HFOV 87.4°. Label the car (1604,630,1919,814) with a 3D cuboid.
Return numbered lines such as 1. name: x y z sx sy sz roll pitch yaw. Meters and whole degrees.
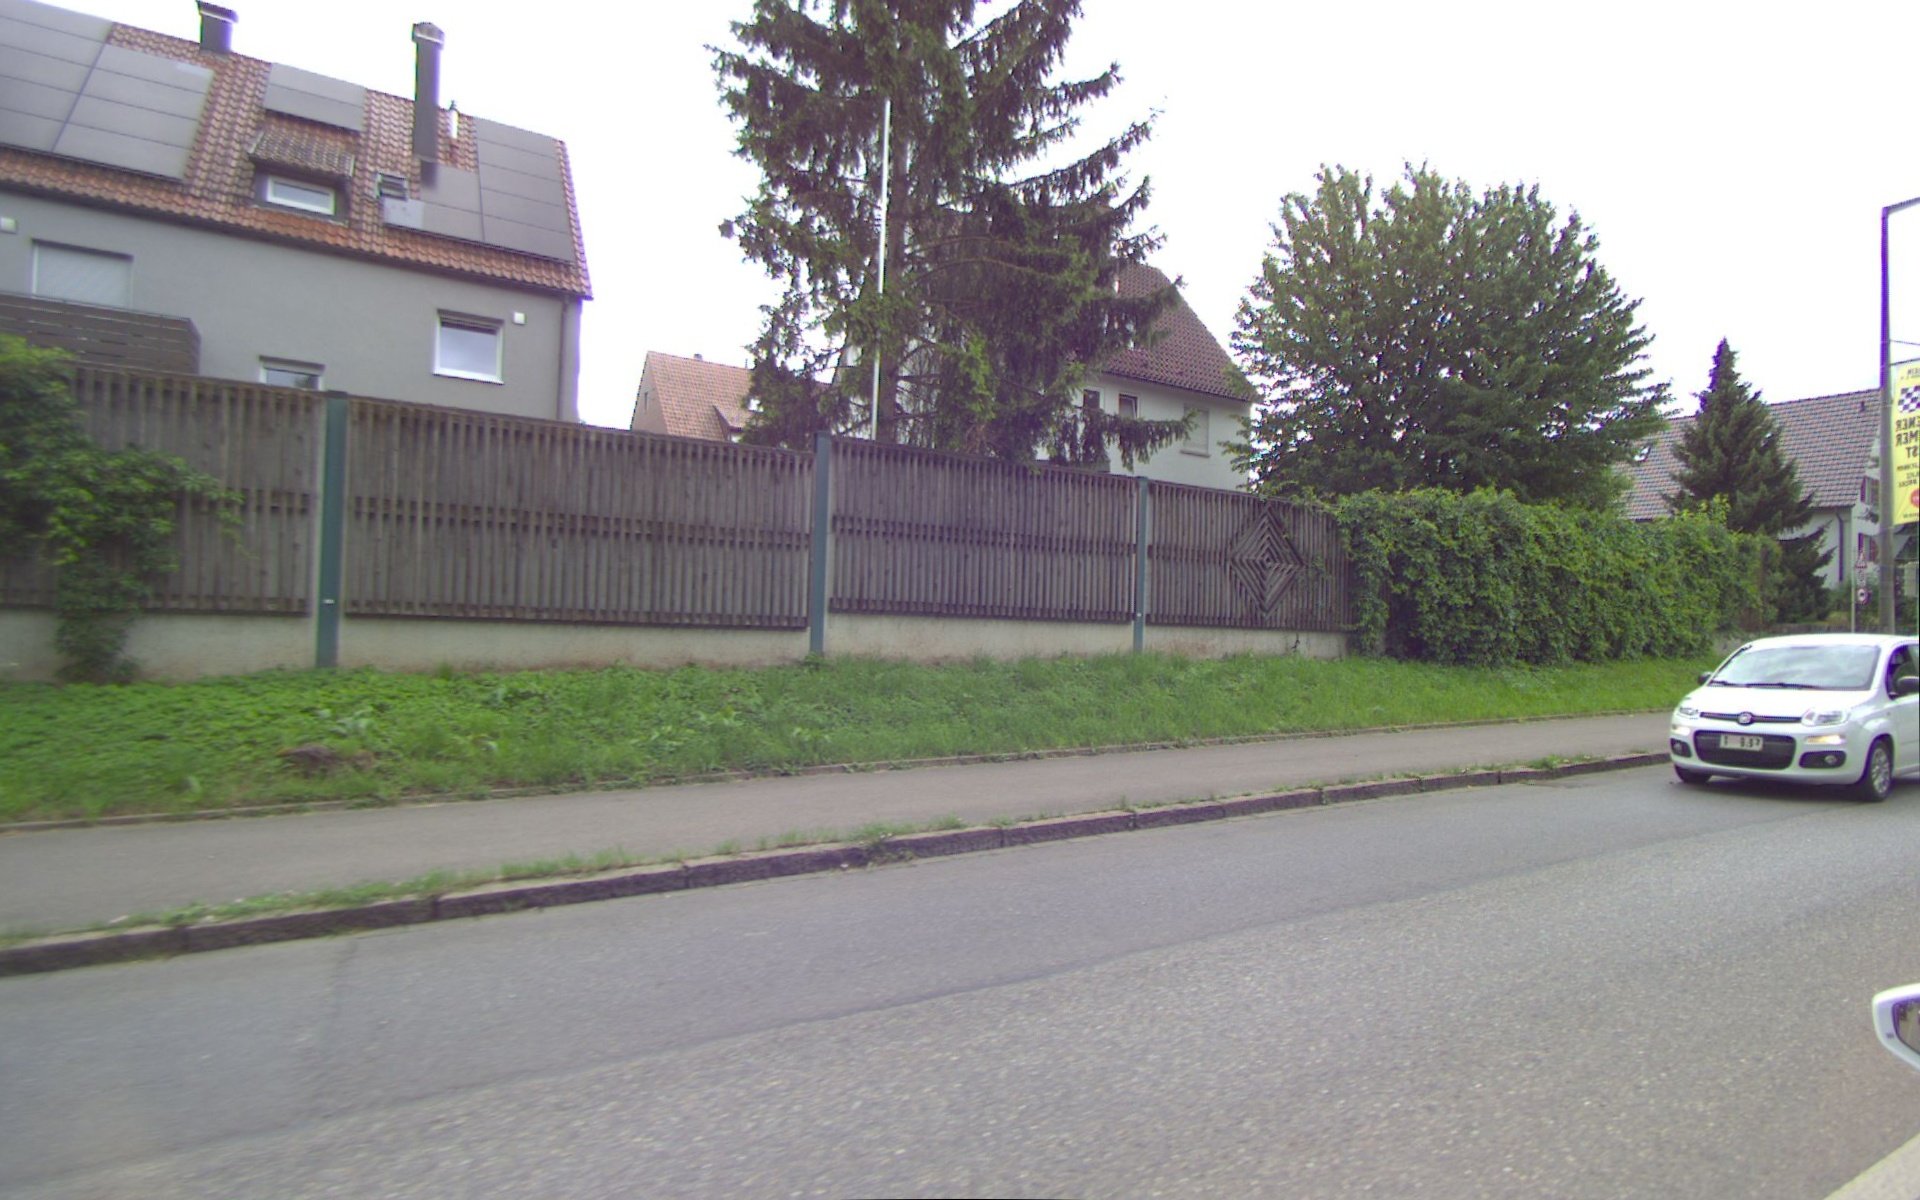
1. car: 8.862 1.109 10.474 4.649 1.544 1.803 1 -3 -32
